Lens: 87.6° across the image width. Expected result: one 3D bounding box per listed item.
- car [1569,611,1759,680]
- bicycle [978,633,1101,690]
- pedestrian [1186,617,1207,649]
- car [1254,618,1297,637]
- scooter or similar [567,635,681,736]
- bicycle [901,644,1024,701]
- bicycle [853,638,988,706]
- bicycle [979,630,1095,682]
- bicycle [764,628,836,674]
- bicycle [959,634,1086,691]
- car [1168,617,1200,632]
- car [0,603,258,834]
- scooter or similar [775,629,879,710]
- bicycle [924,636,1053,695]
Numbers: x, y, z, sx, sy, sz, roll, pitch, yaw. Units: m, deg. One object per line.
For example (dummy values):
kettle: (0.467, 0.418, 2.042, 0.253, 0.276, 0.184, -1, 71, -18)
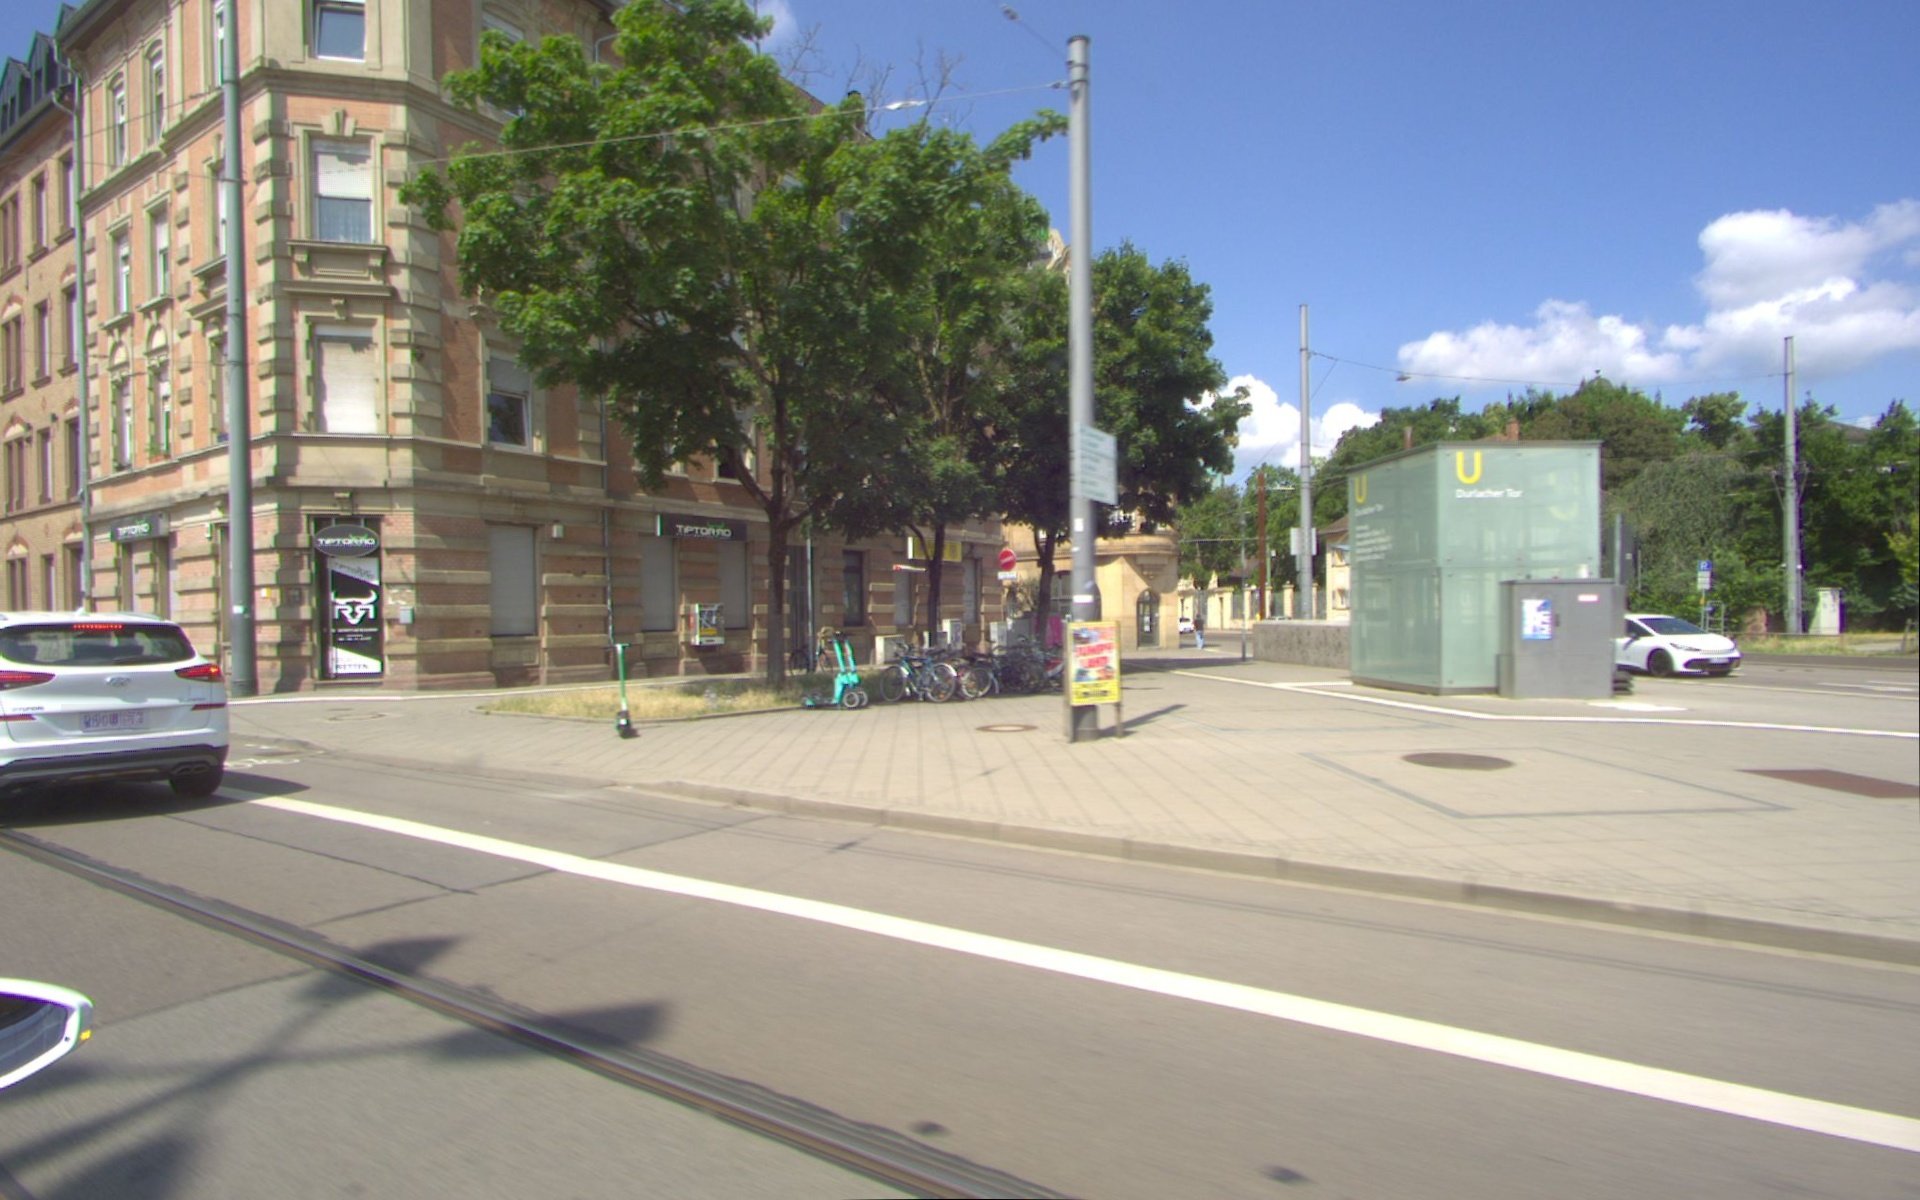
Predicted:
car: (17.772, 1.097, 25.549, 1.901, 1.586, 3.996, -1, -1, -3)
bicycle: (1.652, 1.268, 21.141, 2.540, 1.105, 0.789, -2, 0, 37)
pedestrian: (11.746, 1.627, 49.743, 0.880, 1.579, 0.864, -1, 0, 4)
car: (24.061, 2.061, 76.592, 1.649, 1.405, 3.795, -1, -1, -8)
scooter or similar: (-4.302, 1.060, 12.826, 1.073, 1.195, 0.943, -1, 0, 40)
bicycle: (0.027, 1.319, 18.692, 2.258, 0.892, 0.839, 1, 2, 37)
bicycle: (-0.714, 1.241, 17.749, 2.234, 1.096, 1.021, -2, 0, 36)
bicycle: (1.687, 1.226, 22.252, 2.540, 1.067, 0.789, -2, 0, 37)
bicycle: (-3.927, 1.242, 24.624, 0.756, 1.064, 1.638, -1, 0, 41)
bicycle: (1.252, 1.251, 20.410, 2.540, 1.067, 0.789, -2, 0, 37)
car: (21.257, 2.334, 95.052, 1.649, 1.405, 3.795, -1, -1, -9)
car: (-8.282, 0.885, 8.907, 4.120, 1.655, 1.849, -1, 0, 31)
scooter or similar: (-2.150, 1.102, 16.248, 1.368, 1.219, 0.947, -1, 0, 27)
bicycle: (0.544, 1.270, 19.844, 2.540, 1.084, 0.789, -2, 0, 37)
